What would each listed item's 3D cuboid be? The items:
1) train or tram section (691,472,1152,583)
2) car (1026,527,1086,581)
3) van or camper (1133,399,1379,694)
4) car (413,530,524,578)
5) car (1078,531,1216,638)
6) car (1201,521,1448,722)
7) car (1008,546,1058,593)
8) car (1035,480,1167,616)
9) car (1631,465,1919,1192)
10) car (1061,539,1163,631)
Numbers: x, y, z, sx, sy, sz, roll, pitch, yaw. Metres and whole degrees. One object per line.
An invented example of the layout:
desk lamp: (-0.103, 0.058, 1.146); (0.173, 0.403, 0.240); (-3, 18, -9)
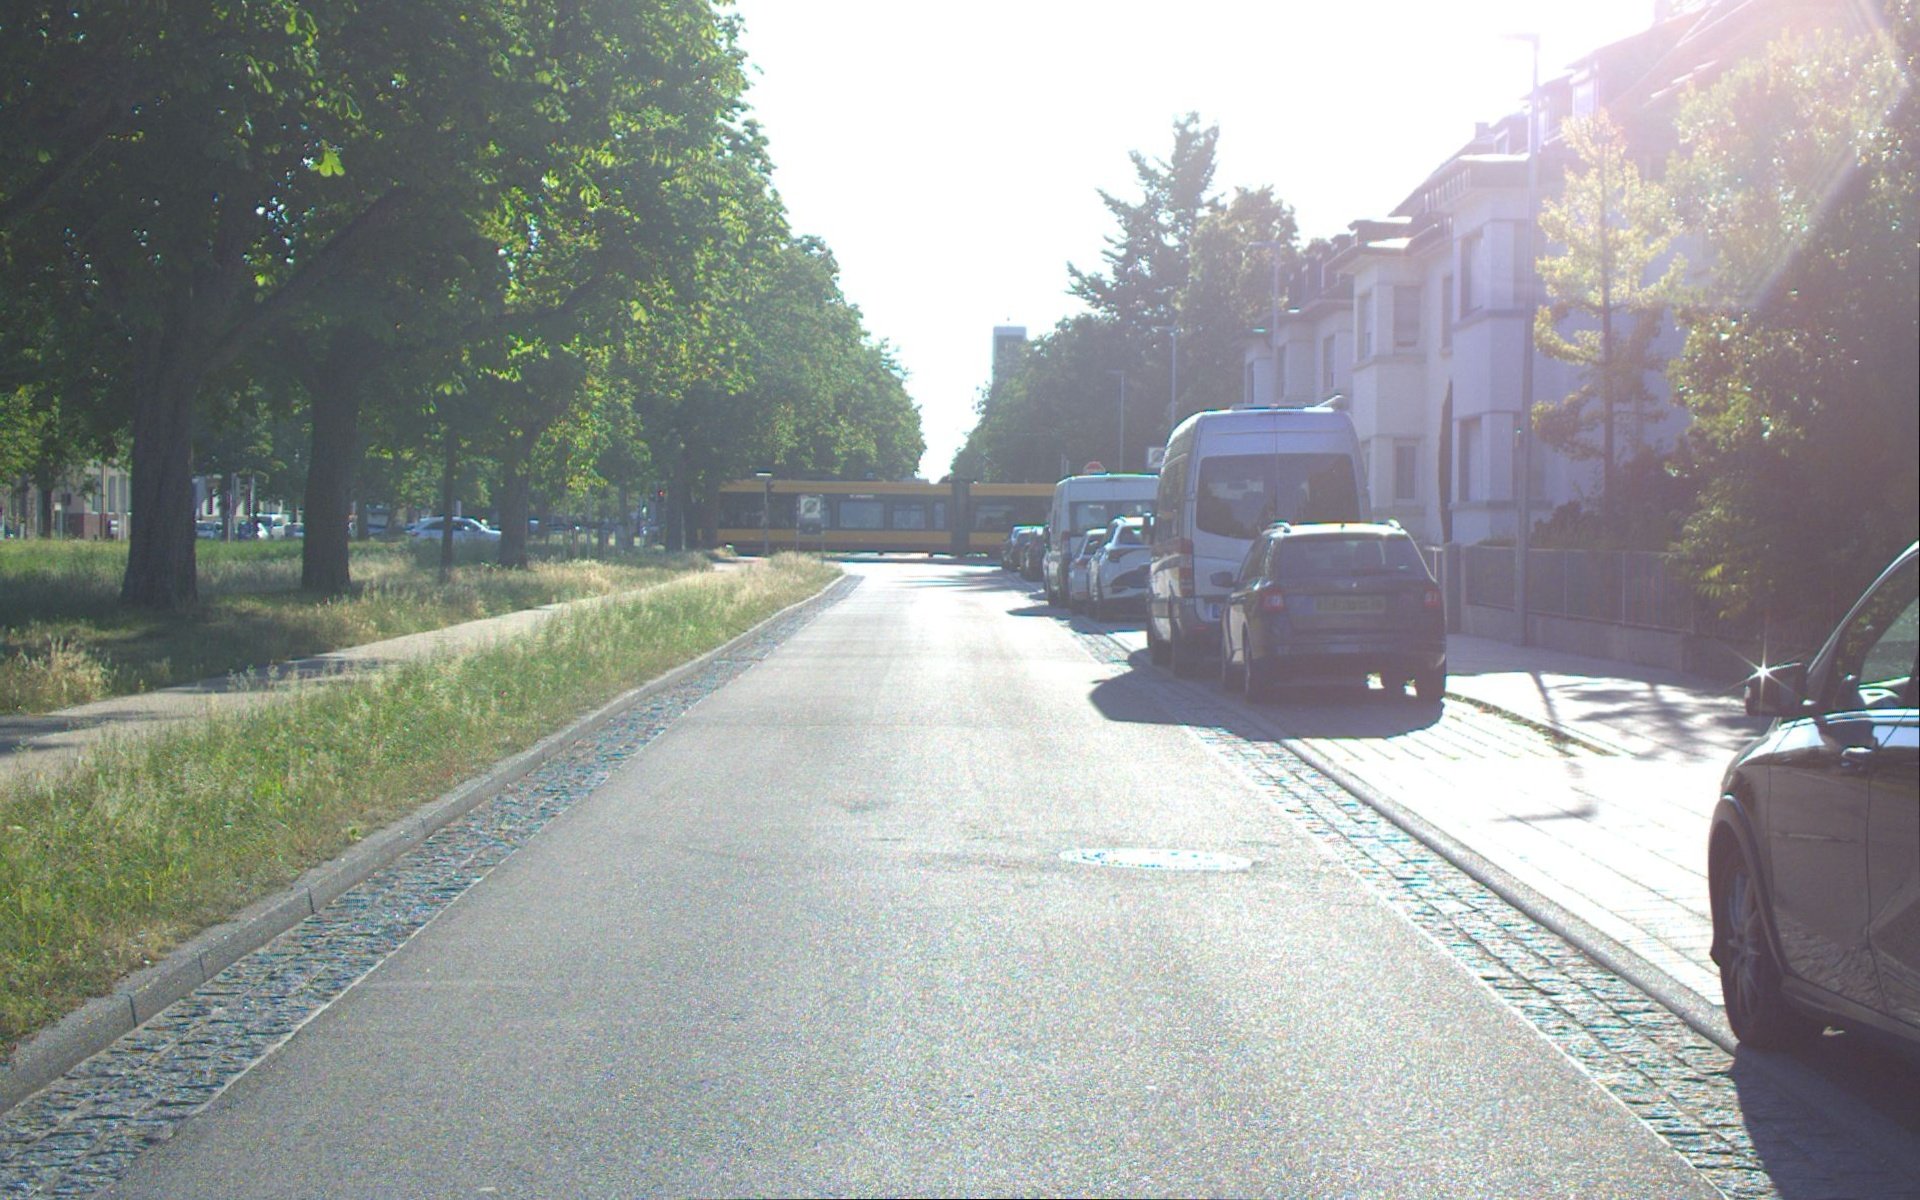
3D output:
train or tram section: (-1.738, -3.150, 150.054); (19.780, 3.943, 3.644); (2, 0, -4)
car: (2.732, -1.324, 98.257); (1.650, 1.525, 3.851); (0, 1, 1)
van or camper: (2.998, -0.532, 36.086); (1.943, 2.768, 5.940); (2, 0, 0)
car: (-19.918, -1.861, 139.291); (4.345, 1.758, 2.001); (2, 0, -8)
car: (2.934, -0.285, 54.726); (1.837, 1.630, 4.132); (0, 1, -2)
car: (3.079, 0.143, 29.712); (1.663, 1.587, 4.086); (-1, 1, 0)
car: (2.436, -1.045, 115.134); (1.650, 1.525, 3.851); (0, 1, 1)
car: (2.673, -1.015, 66.306); (2.126, 2.524, 5.189); (0, 1, -2)
car: (3.111, 0.478, 8.913); (1.832, 1.679, 4.415); (-2, 2, 0)
car: (2.601, -0.287, 59.494); (1.650, 1.525, 3.851); (0, 1, 1)
